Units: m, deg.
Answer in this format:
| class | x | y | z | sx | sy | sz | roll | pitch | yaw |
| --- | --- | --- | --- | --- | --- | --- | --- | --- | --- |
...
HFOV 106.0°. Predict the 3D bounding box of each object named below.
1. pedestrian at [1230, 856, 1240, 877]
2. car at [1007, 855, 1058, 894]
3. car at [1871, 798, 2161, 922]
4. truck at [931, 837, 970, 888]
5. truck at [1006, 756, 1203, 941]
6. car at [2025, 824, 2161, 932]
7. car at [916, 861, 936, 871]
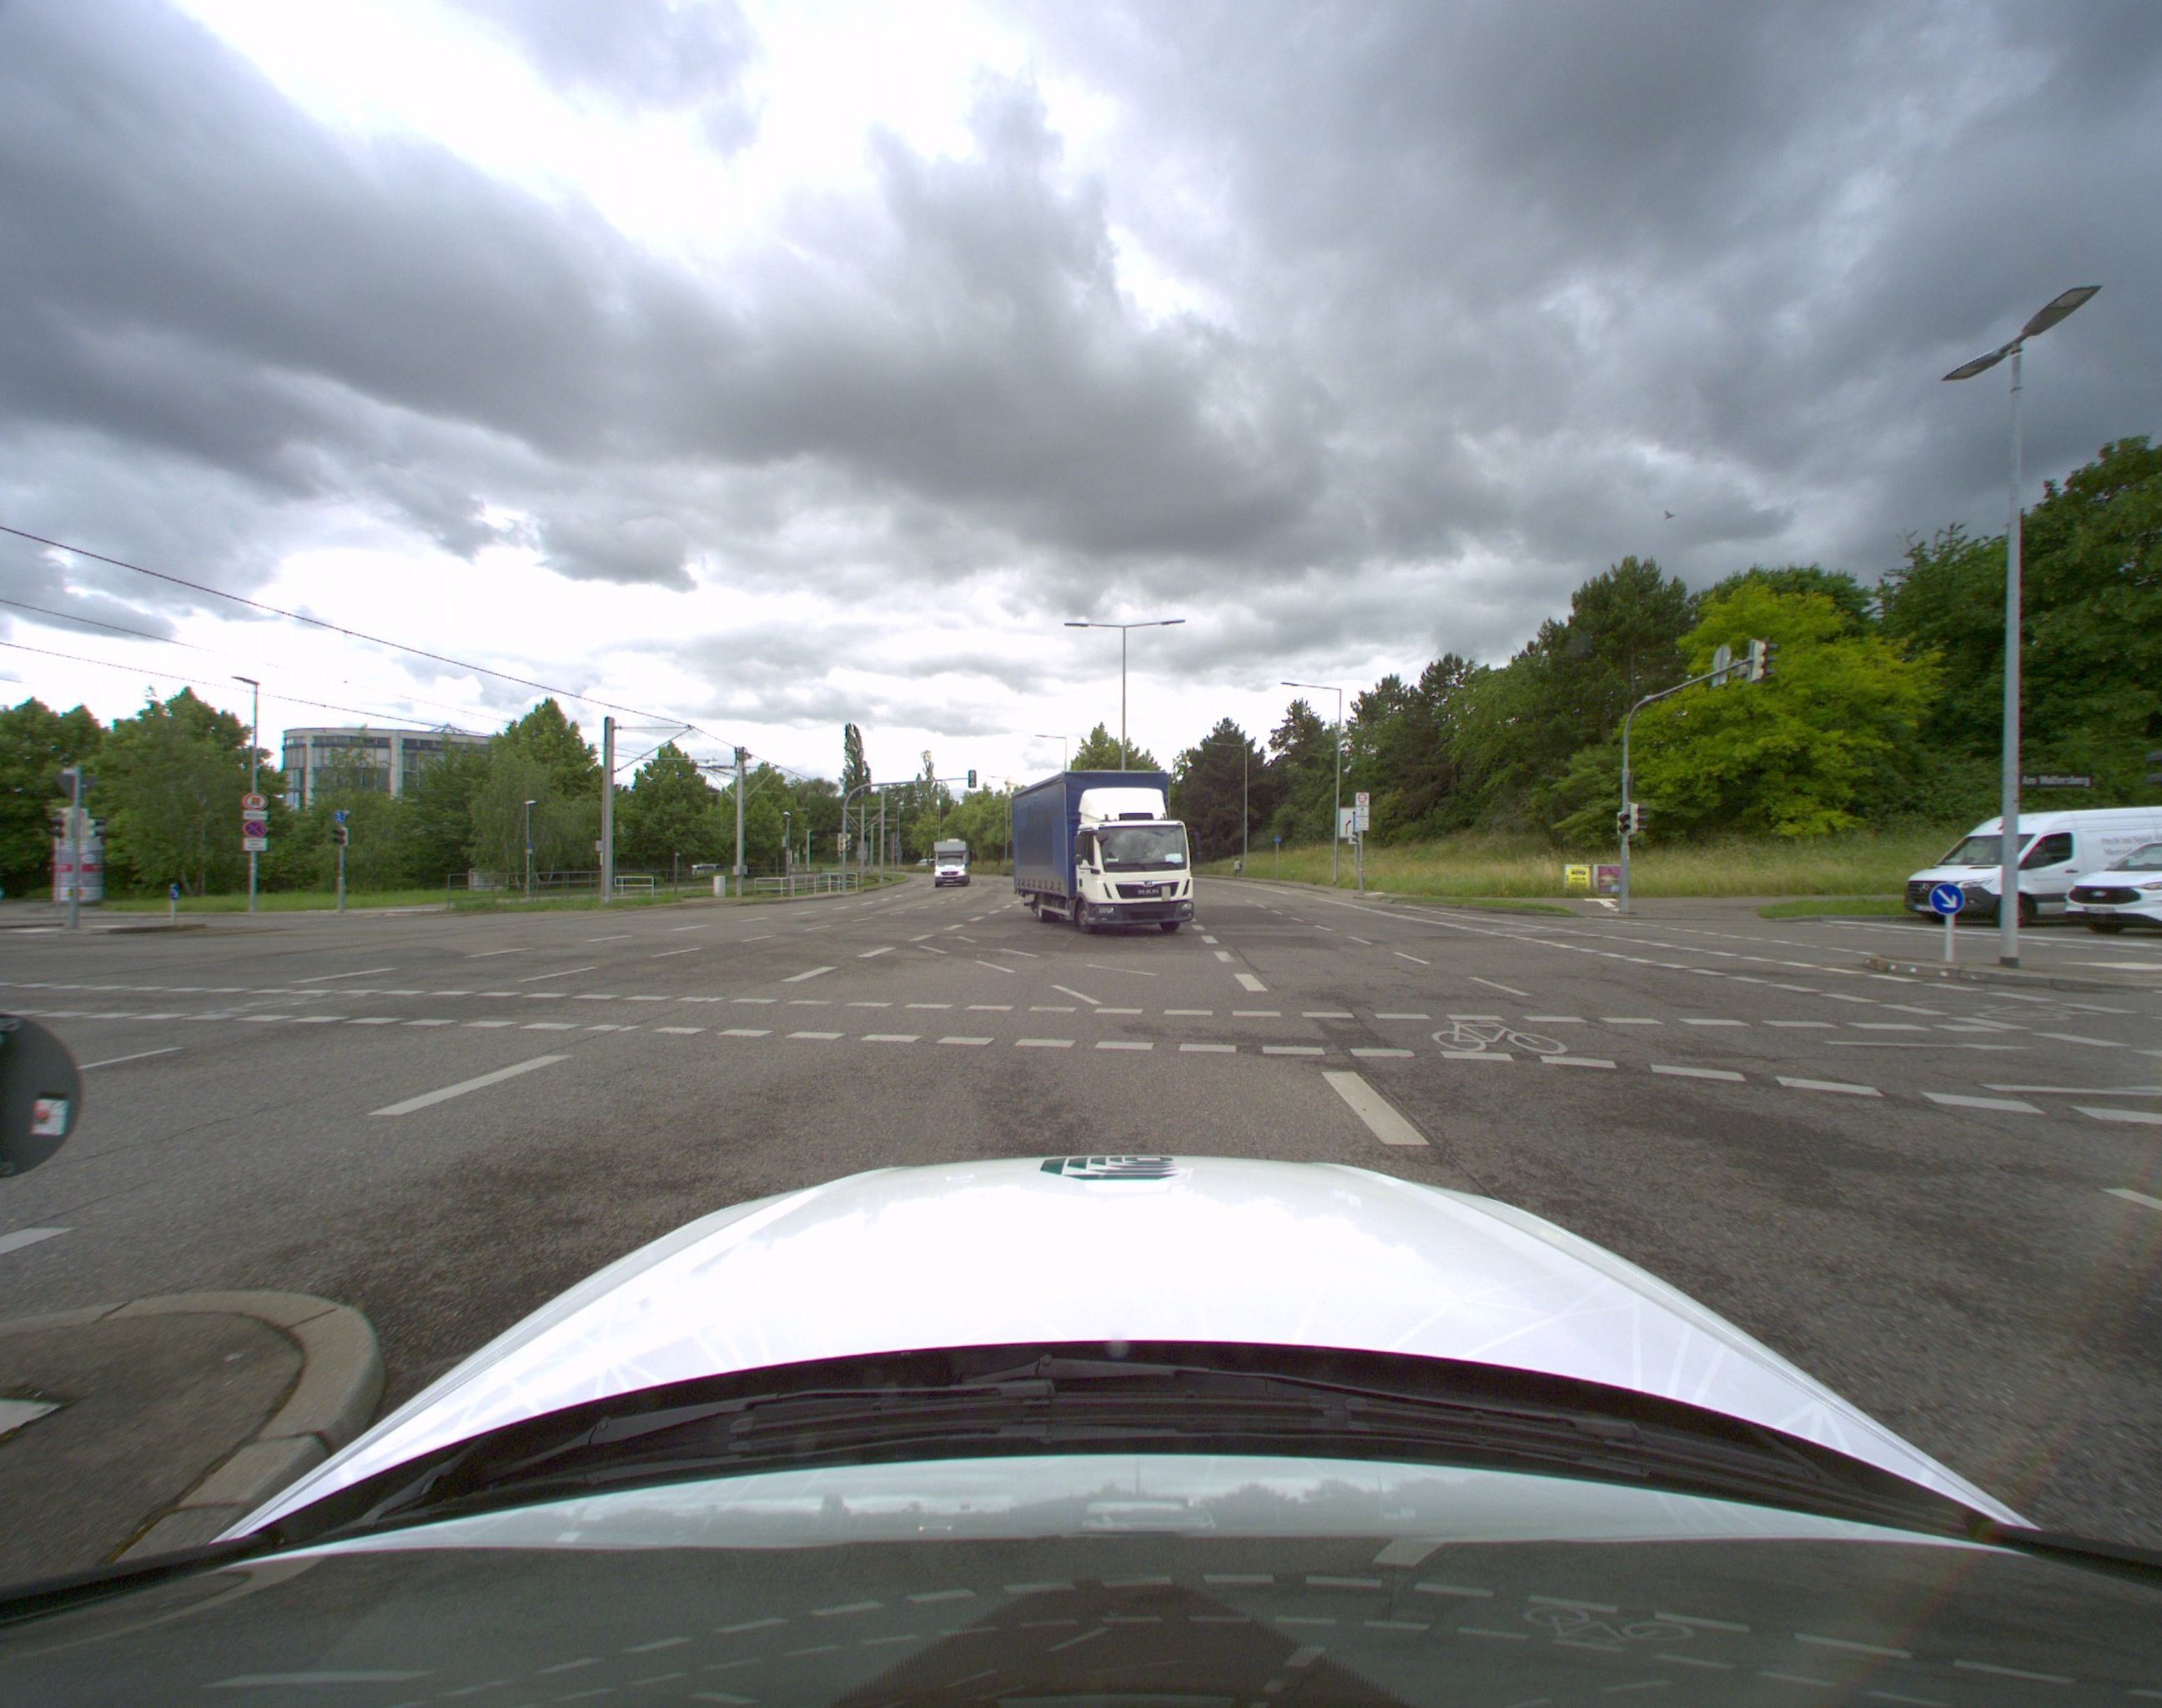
| class | x | y | z | sx | sy | sz | roll | pitch | yaw |
| --- | --- | --- | --- | --- | --- | --- | --- | --- | --- |
| pedestrian | 12.905 | 1.054 | 68.046 | 0.735 | 1.717 | 0.626 | -1 | -1 | 4 |
| car | -2.569 | 1.013 | 41.623 | 1.994 | 1.876 | 4.872 | -1 | -1 | -11 |
| car | 22.623 | 0.153 | 18.956 | 5.911 | 2.659 | 2.232 | -1 | -2 | 6 |
| truck | -8.526 | 0.552 | 53.573 | 2.103 | 3.010 | 6.258 | -4 | 0 | -7 |
| truck | 0.170 | -0.089 | 21.211 | 2.784 | 3.804 | 8.344 | 0 | -1 | -15 |
| car | 22.230 | 0.444 | 15.831 | 4.948 | 1.991 | 2.123 | -1 | -2 | 5 |
| car | -27.922 | 2.148 | 146.624 | 2.011 | 1.728 | 3.683 | 0 | -1 | -41 |
